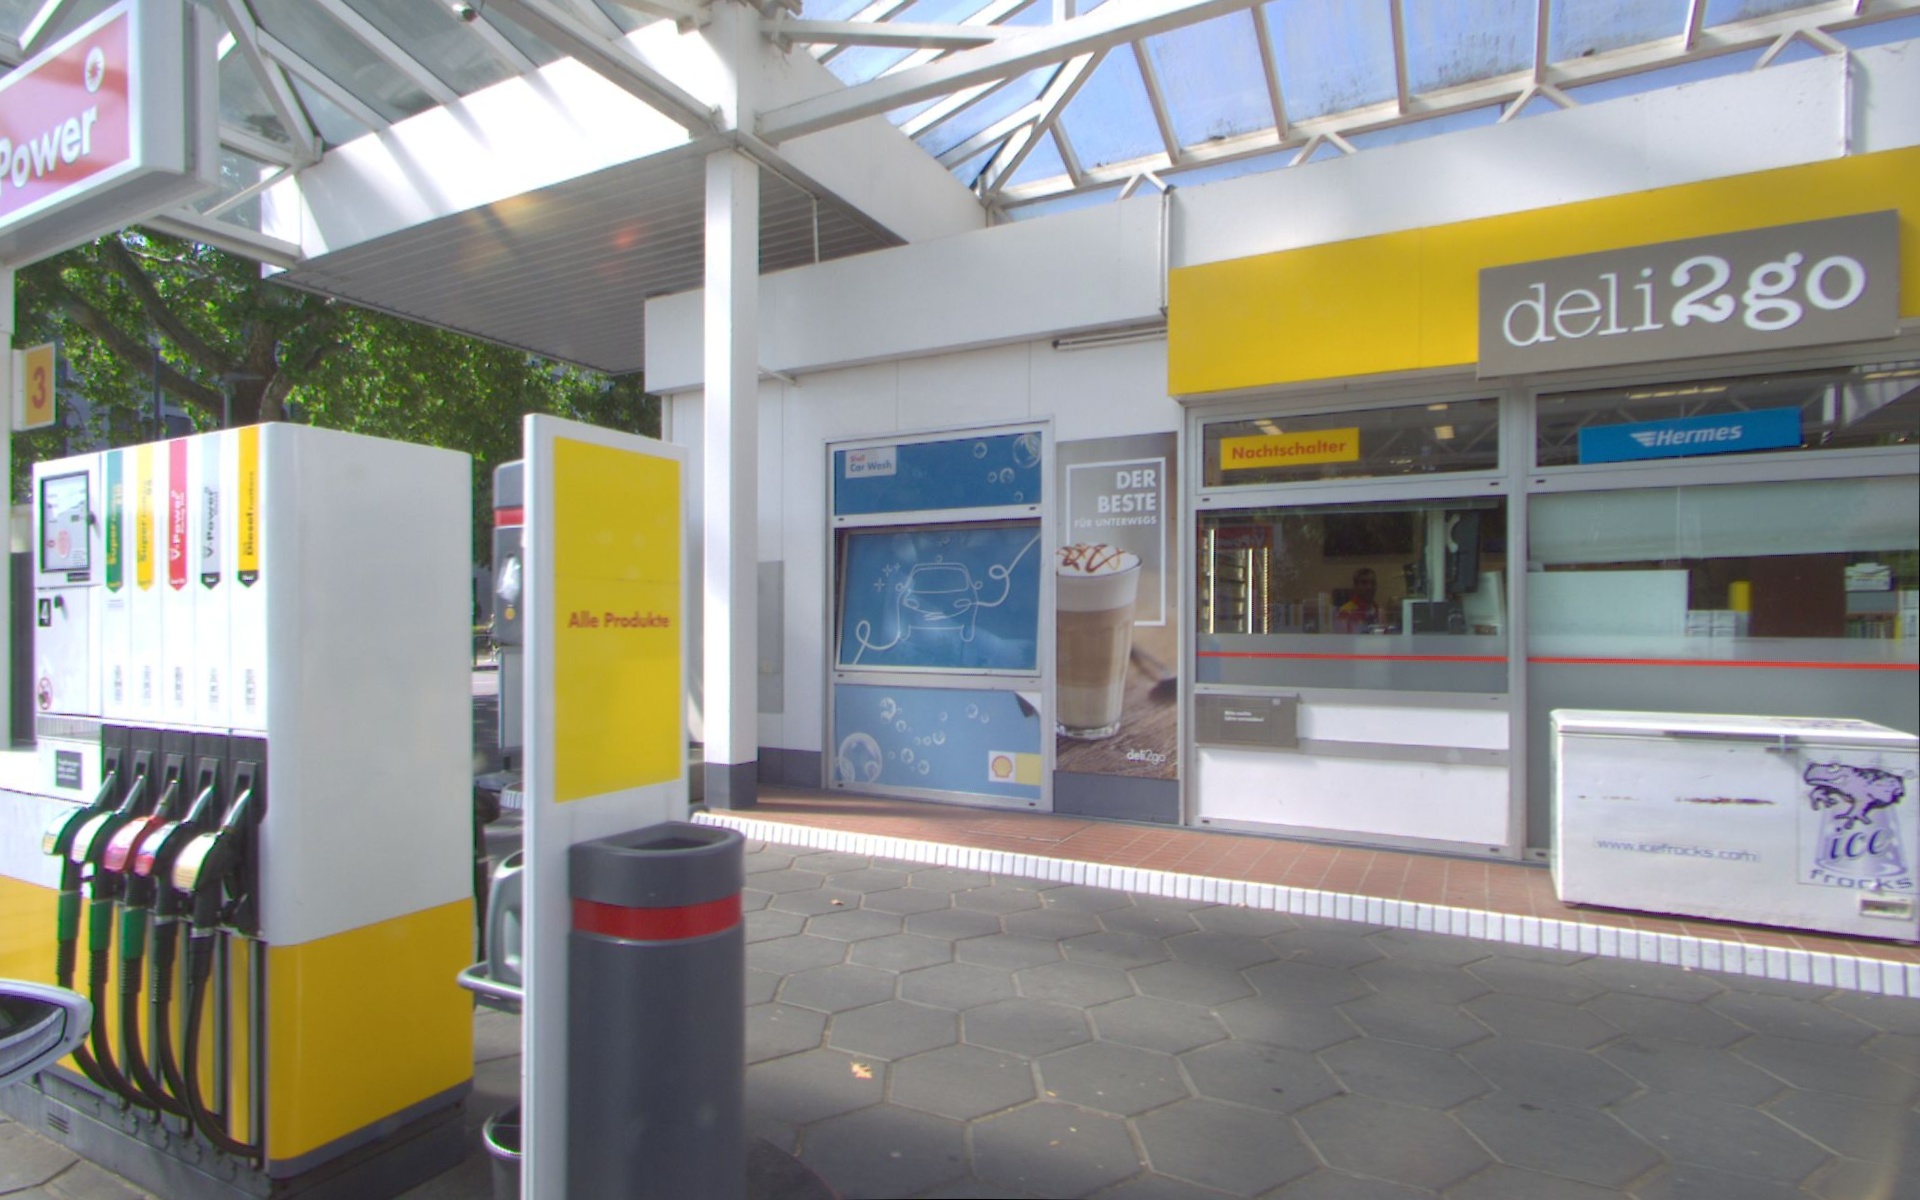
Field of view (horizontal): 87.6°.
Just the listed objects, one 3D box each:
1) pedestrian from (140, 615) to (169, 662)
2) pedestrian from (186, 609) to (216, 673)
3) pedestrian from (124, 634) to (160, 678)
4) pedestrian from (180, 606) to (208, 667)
[{"bbox_3d":[-21.675,1.033,26.938,0.400,1.236,0.498,0,-1,31],"label":"pedestrian"},{"bbox_3d":[-21.141,1.126,27.887,0.516,1.758,0.498,0,-1,31],"label":"pedestrian"},{"bbox_3d":[-21.866,1.493,26.782,0.517,1.152,0.626,0,-1,35],"label":"pedestrian"},{"bbox_3d":[-22.213,1.061,29.036,0.516,1.758,0.498,0,-1,31],"label":"pedestrian"}]
